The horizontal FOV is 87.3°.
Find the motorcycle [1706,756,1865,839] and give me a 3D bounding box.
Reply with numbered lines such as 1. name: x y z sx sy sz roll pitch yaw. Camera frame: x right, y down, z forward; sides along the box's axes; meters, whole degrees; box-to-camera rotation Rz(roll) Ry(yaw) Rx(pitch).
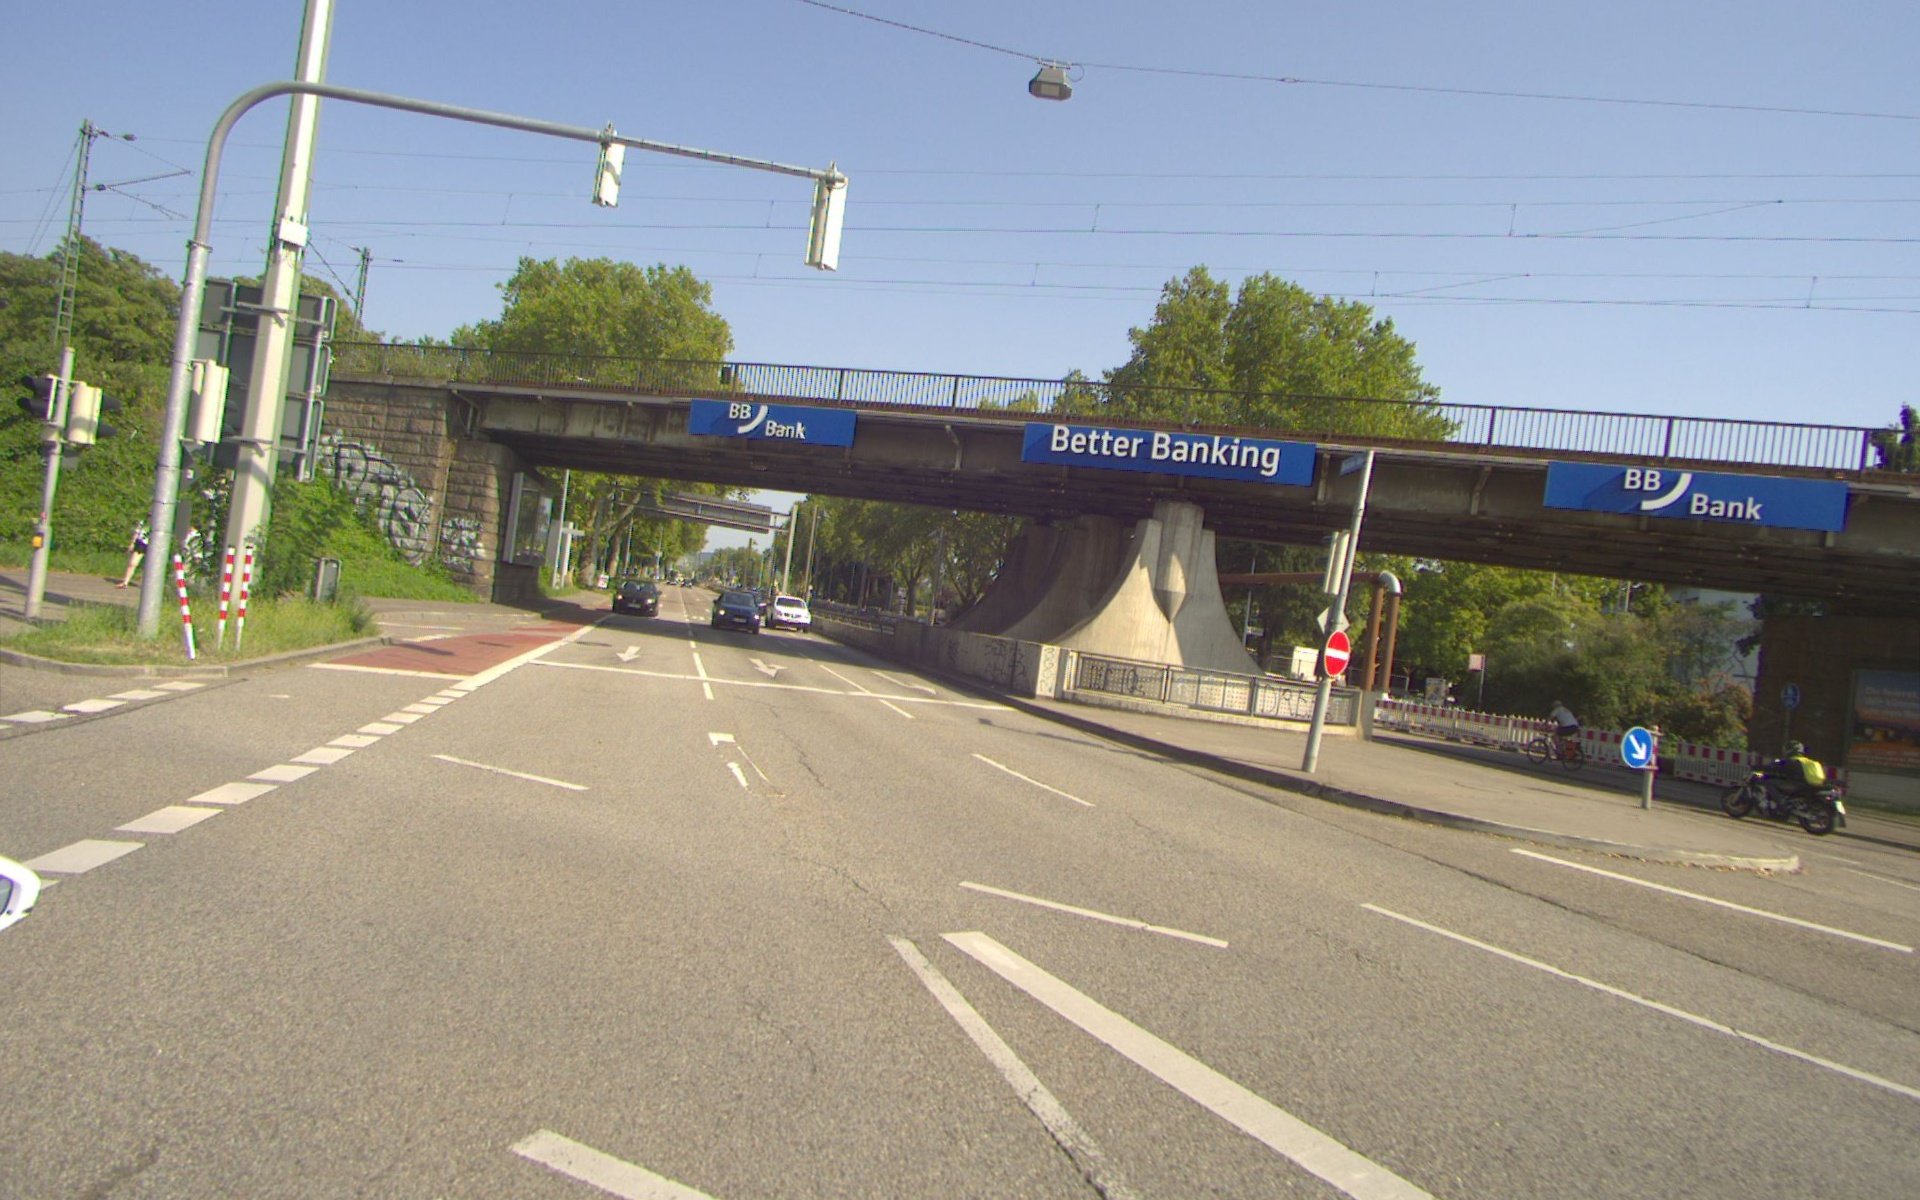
1. motorcycle: 15.275 3.640 18.698 0.744 1.034 2.159 8 0 -15

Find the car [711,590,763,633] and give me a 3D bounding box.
1. car: -8.817 0.417 39.595 1.593 1.470 3.987 7 -1 -17

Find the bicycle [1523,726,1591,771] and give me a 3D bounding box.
1. bicycle: 15.638 3.878 26.371 0.442 0.943 1.553 5 -1 -19

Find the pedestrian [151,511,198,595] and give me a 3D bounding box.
1. pedestrian: -15.845 -0.945 20.290 0.568 1.585 0.530 8 -1 -39

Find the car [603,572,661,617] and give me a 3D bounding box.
1. car: -13.816 -0.231 42.579 1.842 1.551 4.183 8 -1 -14

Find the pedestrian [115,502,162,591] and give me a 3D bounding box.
1. pedestrian: -16.669 -1.090 20.416 0.567 1.703 0.487 8 2 -39

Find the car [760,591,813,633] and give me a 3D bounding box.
1. car: -8.234 0.523 47.475 1.980 1.637 4.206 8 -1 -14

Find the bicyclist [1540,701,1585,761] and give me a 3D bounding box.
1. bicyclist: 15.717 3.419 26.265 0.436 1.443 0.810 5 0 -19

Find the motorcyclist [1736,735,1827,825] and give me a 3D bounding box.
1. motorcyclist: 15.295 3.343 18.751 0.732 1.449 0.938 7 0 -15
